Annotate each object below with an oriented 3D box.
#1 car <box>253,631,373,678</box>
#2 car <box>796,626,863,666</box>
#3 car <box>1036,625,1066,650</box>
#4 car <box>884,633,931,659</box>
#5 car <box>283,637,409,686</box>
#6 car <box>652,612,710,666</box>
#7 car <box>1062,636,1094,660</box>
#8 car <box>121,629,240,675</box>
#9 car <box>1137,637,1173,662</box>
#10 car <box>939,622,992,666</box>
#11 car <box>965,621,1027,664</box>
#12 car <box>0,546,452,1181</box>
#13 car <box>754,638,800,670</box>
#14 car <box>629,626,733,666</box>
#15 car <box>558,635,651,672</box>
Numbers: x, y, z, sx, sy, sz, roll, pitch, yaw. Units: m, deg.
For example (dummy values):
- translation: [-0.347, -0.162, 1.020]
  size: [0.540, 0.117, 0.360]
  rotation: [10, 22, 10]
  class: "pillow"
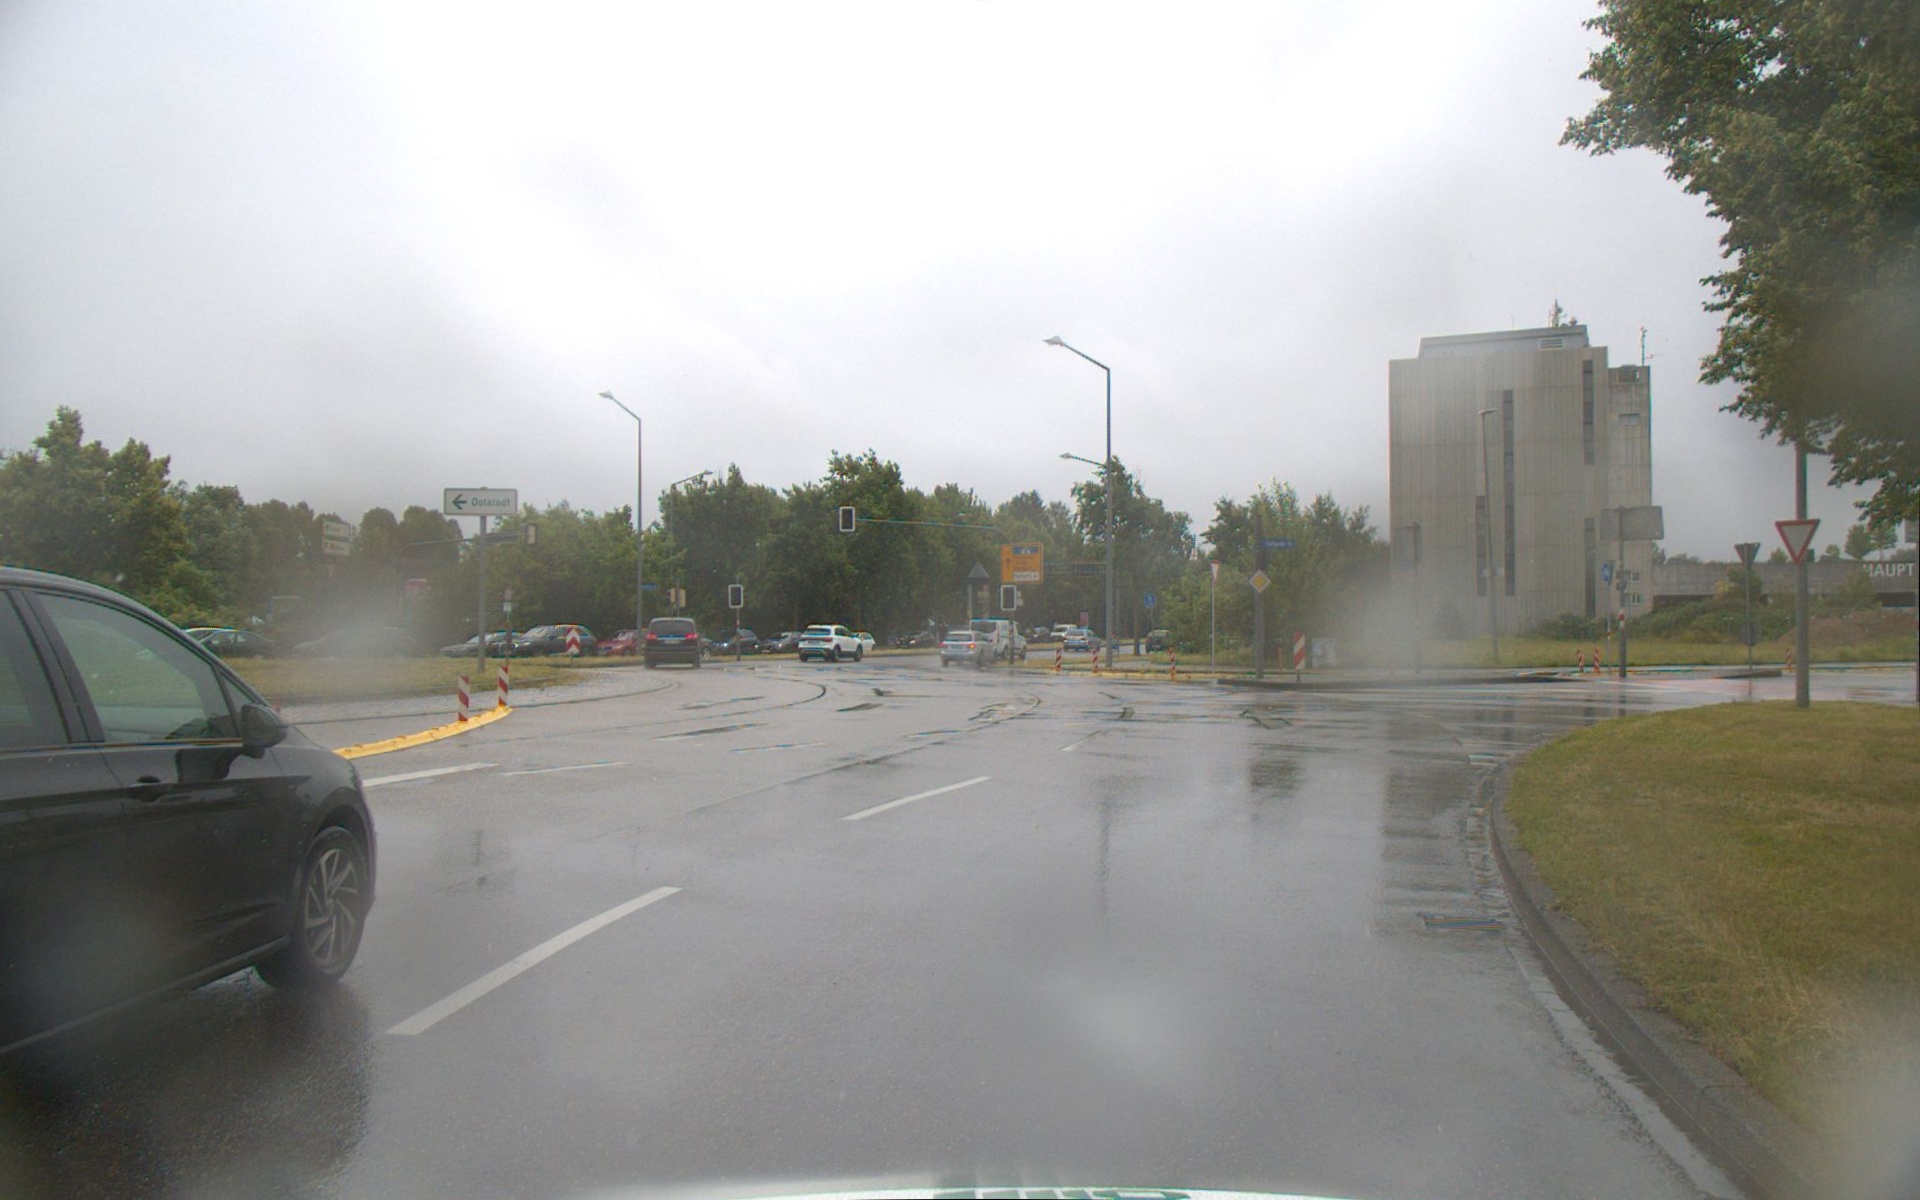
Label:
- translation: [-24.975, 2.112, 63.893]
  size: [3.957, 1.677, 1.765]
  rotation: [3, -3, -37]
  class: "car"
- translation: [-5.741, 2.061, 73.389]
  size: [1.645, 1.677, 3.949]
  rotation: [1, -2, 16]
  class: "car"
- translation: [8.191, 3.371, 148.304]
  size: [1.751, 2.049, 3.674]
  rotation: [1, -2, 18]
  class: "car"
- translation: [-3.739, 3.304, 118.222]
  size: [1.748, 1.677, 3.996]
  rotation: [1, -2, 25]
  class: "car"
- translation: [-22.437, 2.261, 60.500]
  size: [3.957, 1.677, 1.765]
  rotation: [3, -3, -37]
  class: "car"
- translation: [-9.314, 1.323, 55.170]
  size: [1.751, 1.677, 3.990]
  rotation: [2, -2, -10]
  class: "car"
- translation: [7.765, 3.144, 108.736]
  size: [1.652, 1.518, 3.253]
  rotation: [0, -1, 12]
  class: "car"
- translation: [-30.907, 2.063, 65.615]
  size: [3.957, 1.677, 1.765]
  rotation: [3, -3, -37]
  class: "car"
- translation: [12.480, 3.126, 105.745]
  size: [1.653, 1.518, 3.252]
  rotation: [0, -1, 19]
  class: "car"
- translation: [0.275, 1.889, 72.253]
  size: [1.745, 1.842, 4.841]
  rotation: [0, -1, 7]
  class: "car"
- translation: [1.881, 2.195, 85.173]
  size: [1.748, 2.072, 3.997]
  rotation: [1, -2, 24]
  class: "car"
- translation: [-3.173, 0.646, 5.125]
  size: [1.746, 1.544, 4.333]
  rotation: [0, -1, 1]
  class: "car"
- translation: [-10.272, 3.035, 92.956]
  size: [1.746, 1.677, 4.395]
  rotation: [2, -2, 4]
  class: "car"
- translation: [-12.744, 2.109, 75.713]
  size: [4.341, 1.677, 1.768]
  rotation: [3, -3, -34]
  class: "car"
- translation: [-17.555, 2.657, 81.837]
  size: [4.218, 1.677, 1.760]
  rotation: [4, -3, -45]
  class: "car"
